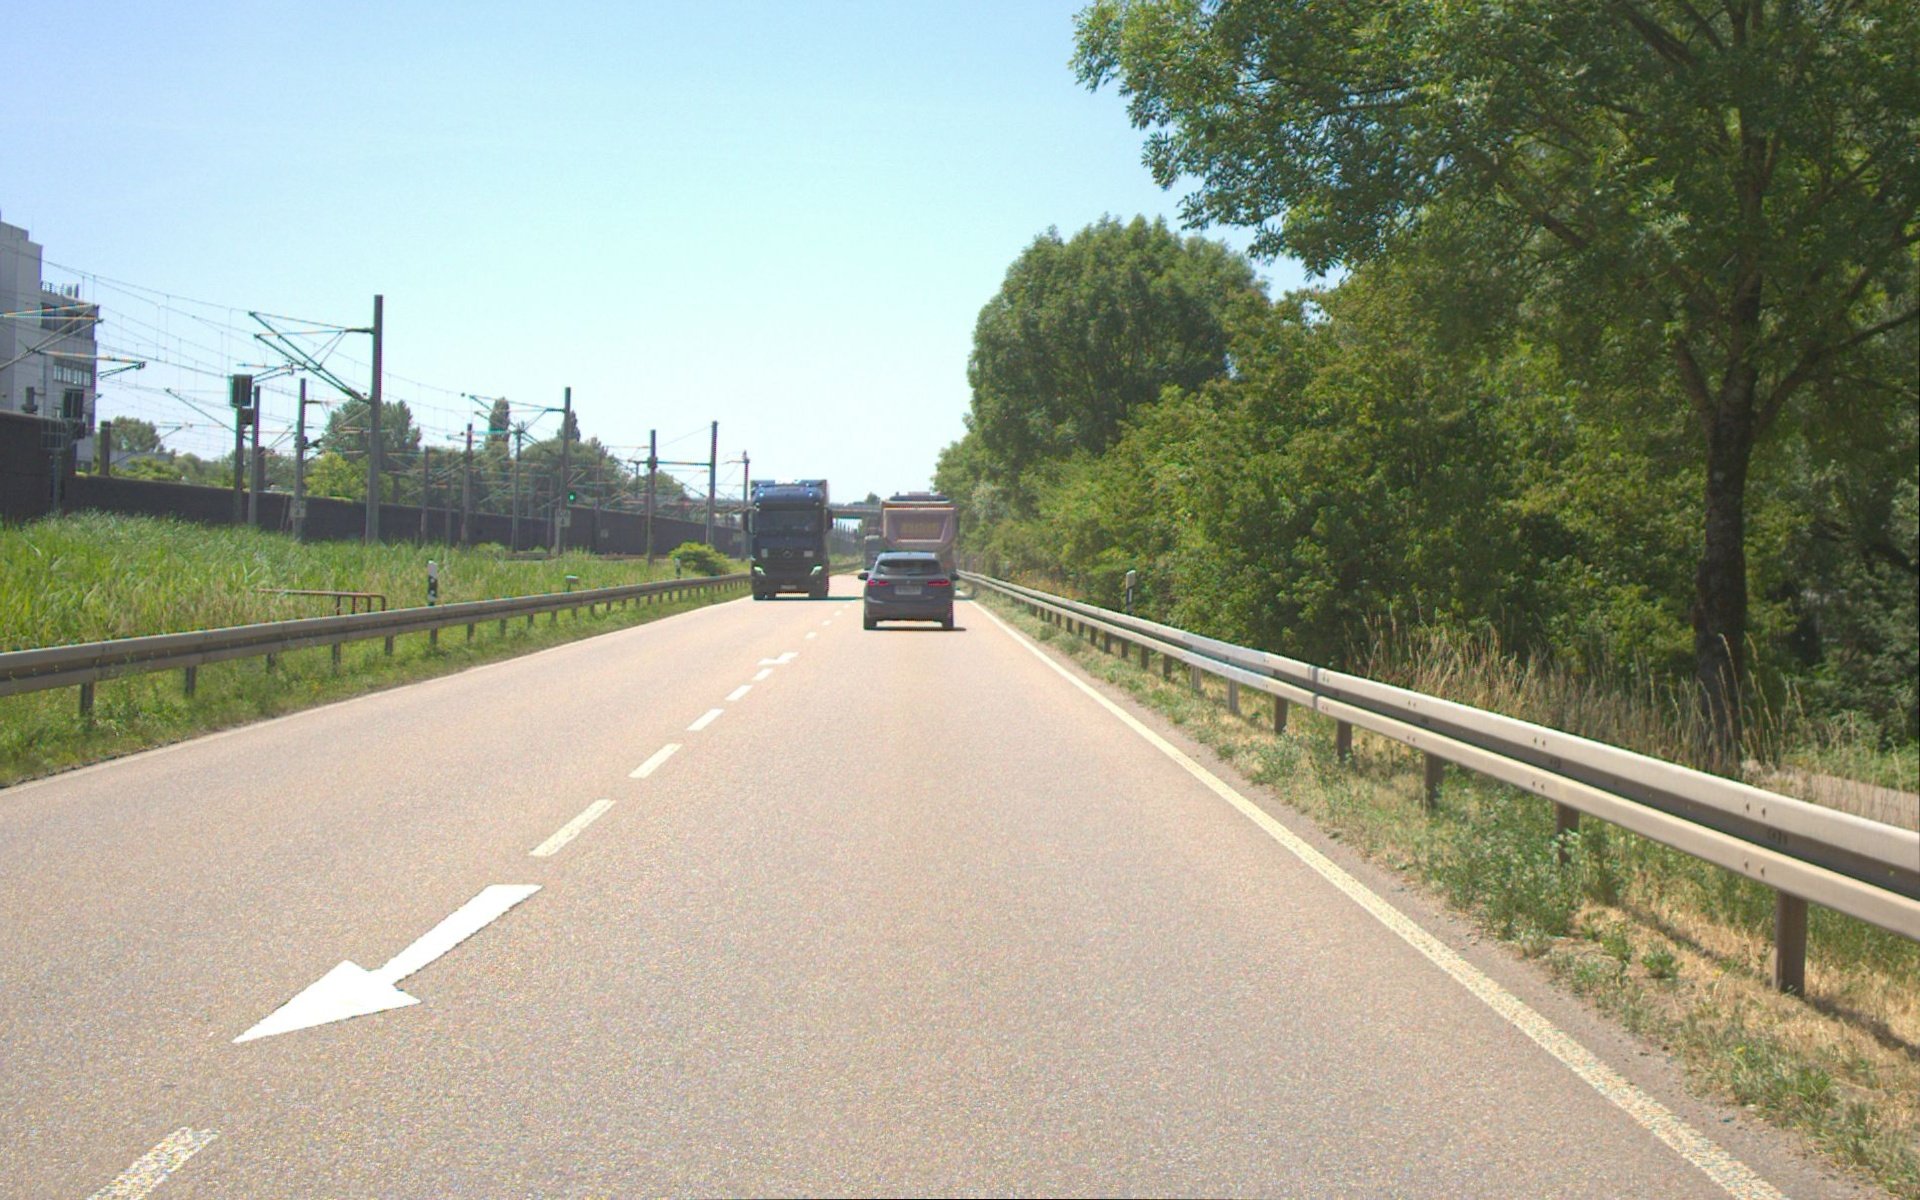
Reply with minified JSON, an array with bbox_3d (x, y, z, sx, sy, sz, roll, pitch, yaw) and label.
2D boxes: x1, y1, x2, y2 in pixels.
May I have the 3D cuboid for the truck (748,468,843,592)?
[{"bbox_3d":[-5.574,-2.403,117.935,2.797,3.964,10.501,-2,1,-1],"label":"truck"}]

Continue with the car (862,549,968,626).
[{"bbox_3d":[-0.946,-0.277,69.722,1.993,1.503,4.001,1,1,-3],"label":"car"}]

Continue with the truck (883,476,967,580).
[{"bbox_3d":[-1.249,-2.469,120.570,2.770,3.414,10.820,1,1,-1],"label":"truck"}]
